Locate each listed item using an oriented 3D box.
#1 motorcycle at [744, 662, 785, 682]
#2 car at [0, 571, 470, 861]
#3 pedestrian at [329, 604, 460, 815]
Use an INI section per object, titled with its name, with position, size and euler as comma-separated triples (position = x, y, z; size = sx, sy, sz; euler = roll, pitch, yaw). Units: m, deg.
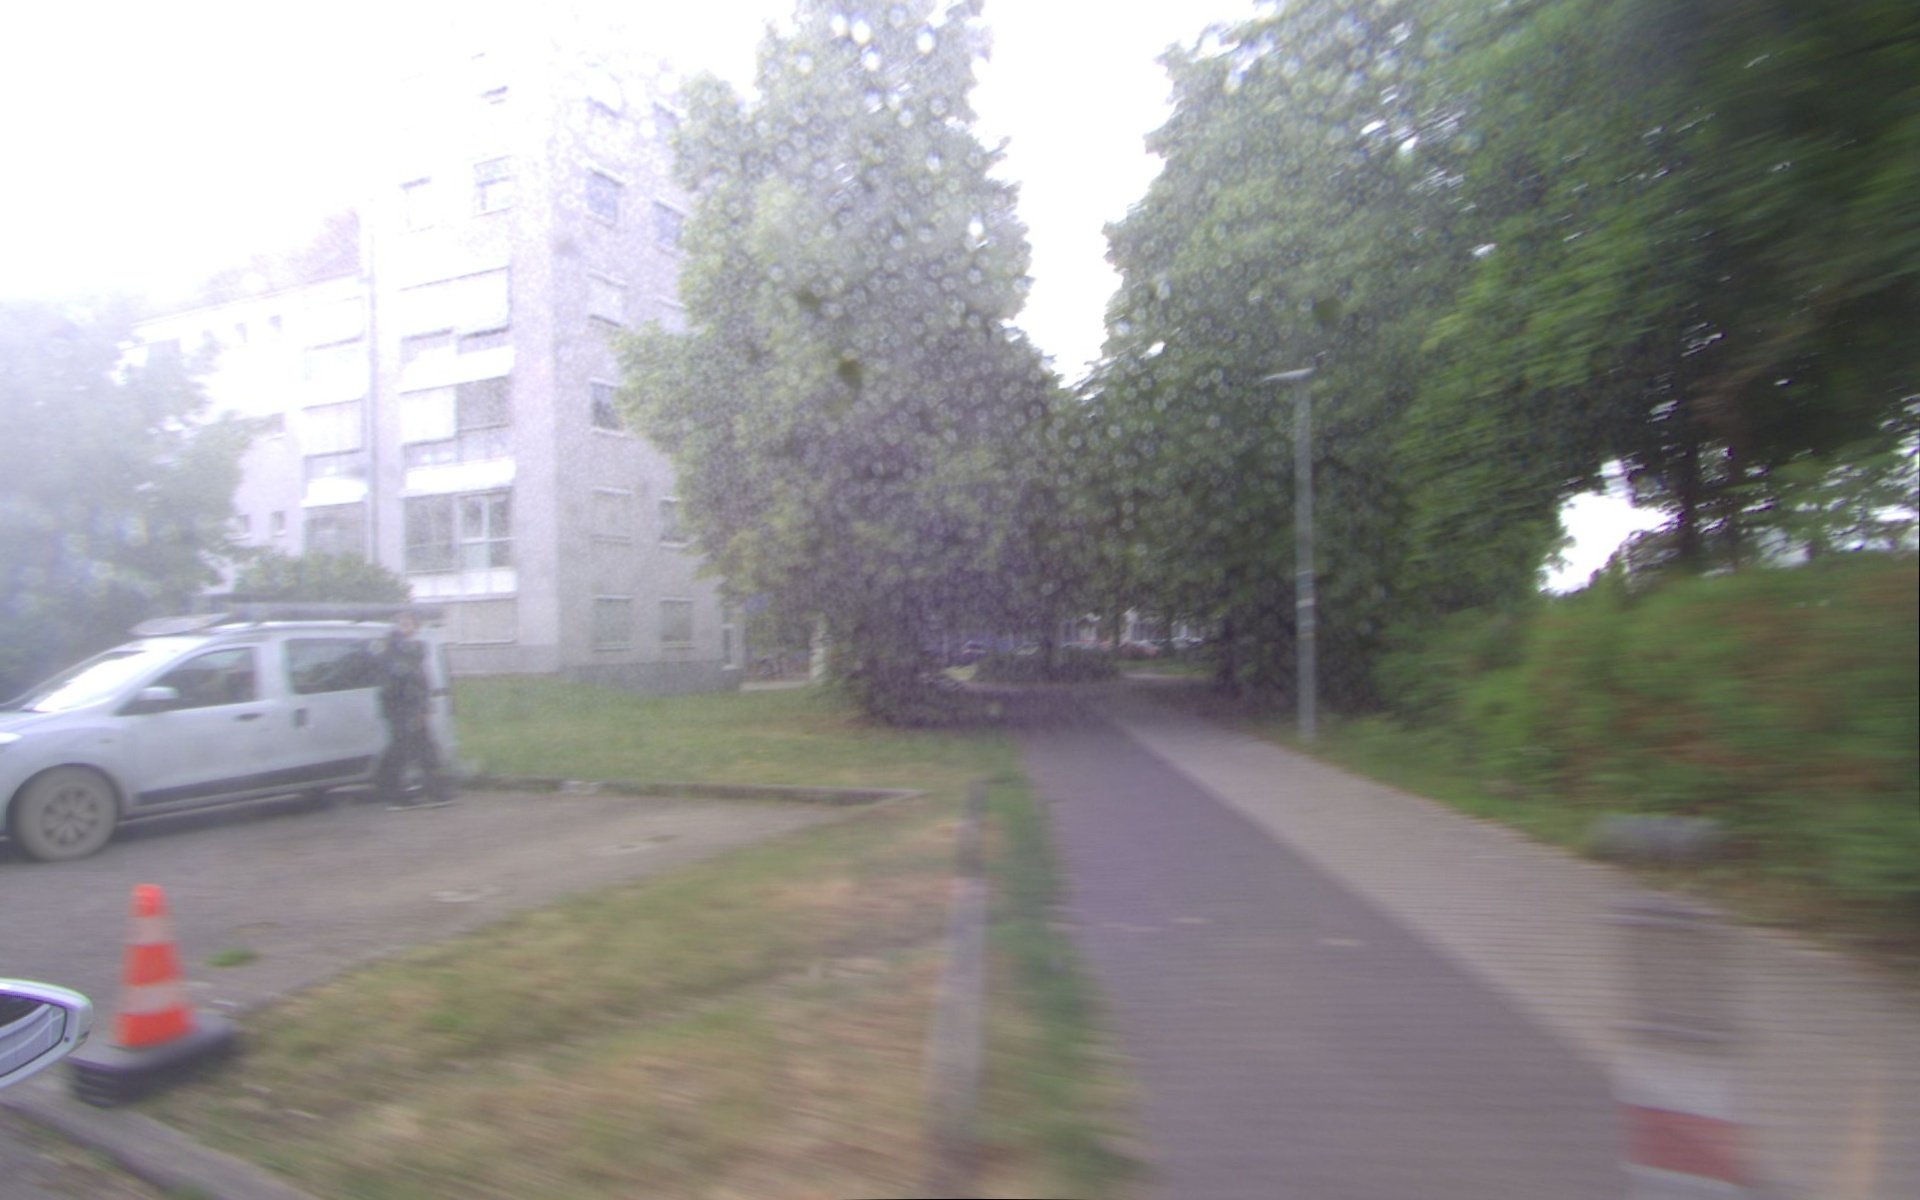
[motorcycle]
position = -9.944, 3.646, 51.117
size = 0.944, 0.892, 3.193
euler = -1, -2, 11
[car]
position = -6.917, 0.920, 9.033
size = 1.824, 2.038, 4.341
euler = -3, -3, 23
[pedestrian]
position = -5.193, 0.982, 9.212
size = 0.687, 1.831, 0.754
euler = -3, -2, 23
